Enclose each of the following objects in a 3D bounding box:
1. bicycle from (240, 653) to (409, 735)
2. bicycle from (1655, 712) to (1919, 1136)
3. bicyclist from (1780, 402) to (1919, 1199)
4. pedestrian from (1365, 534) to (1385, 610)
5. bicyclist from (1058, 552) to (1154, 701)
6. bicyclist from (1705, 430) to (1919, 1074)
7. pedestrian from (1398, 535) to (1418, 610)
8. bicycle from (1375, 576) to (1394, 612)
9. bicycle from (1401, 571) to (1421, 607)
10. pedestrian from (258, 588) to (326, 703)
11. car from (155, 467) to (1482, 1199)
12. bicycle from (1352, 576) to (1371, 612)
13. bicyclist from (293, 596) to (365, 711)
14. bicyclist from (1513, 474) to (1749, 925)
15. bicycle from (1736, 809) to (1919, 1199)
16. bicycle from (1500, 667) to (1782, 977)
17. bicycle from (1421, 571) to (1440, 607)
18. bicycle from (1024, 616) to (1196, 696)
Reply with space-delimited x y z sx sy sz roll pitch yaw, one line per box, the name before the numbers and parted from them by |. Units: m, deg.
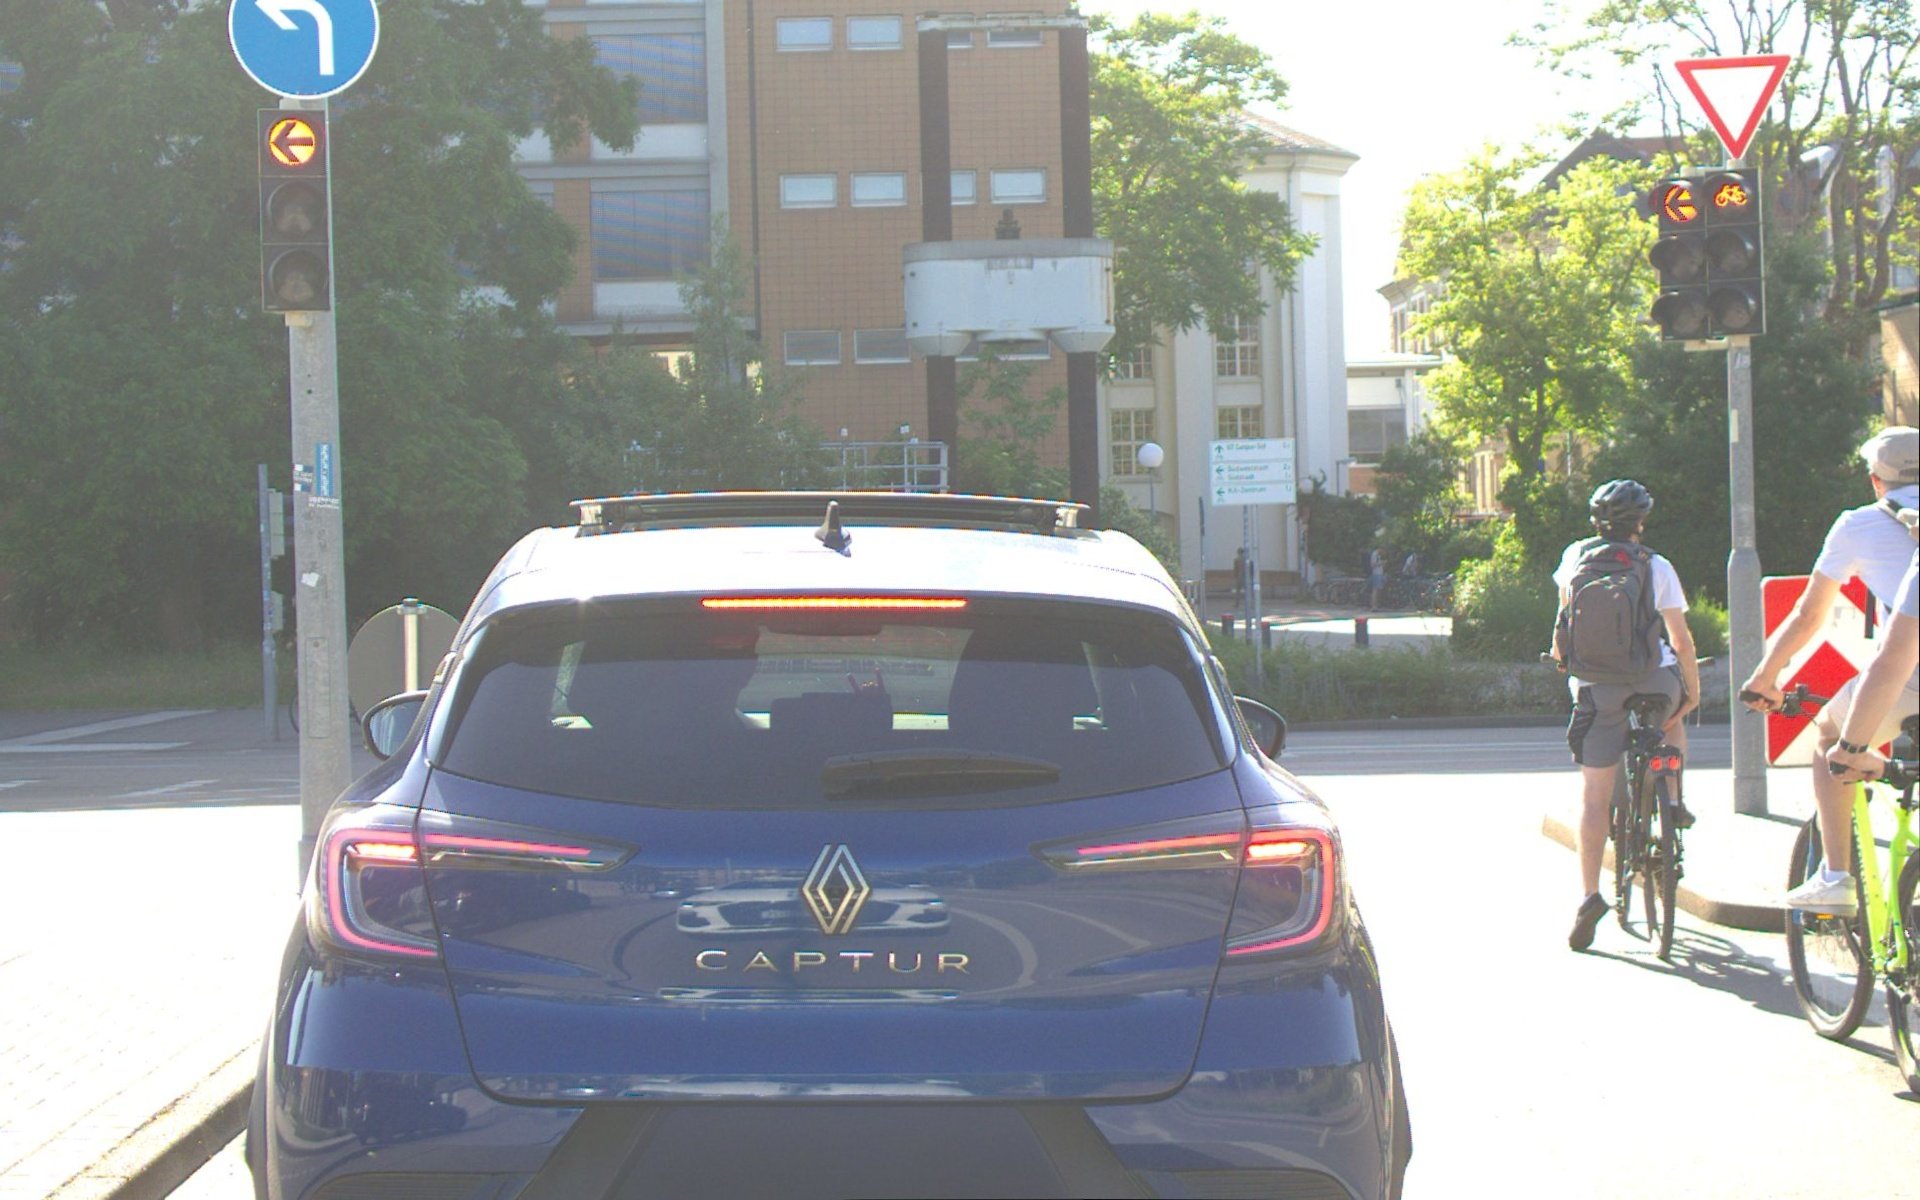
bicycle | -8.081 1.189 43.765 2.005 0.961 0.598 -2 1 -27
bicycle | 2.611 0.866 9.817 0.659 0.999 1.970 1 1 -6
bicyclist | 2.230 0.443 7.241 0.751 1.663 1.016 1 0 1
pedestrian | 10.982 -0.750 91.038 0.475 2.007 0.523 -1 1 6
bicyclist | 1.853 0.330 43.650 1.102 1.861 0.652 -1 1 10
bicyclist | 2.622 0.407 9.806 0.645 1.733 1.067 1 0 -6
pedestrian | 12.039 -0.749 92.390 0.475 2.007 0.468 -1 1 6
bicycle | 11.615 -0.167 94.032 0.405 0.969 1.683 1 1 4
bicycle | 12.383 -0.304 94.398 0.405 0.969 1.683 1 1 4
pedestrian | -9.396 0.638 48.376 0.737 1.598 0.598 -1 1 12
car | -0.269 0.614 6.692 1.803 1.626 4.000 0 1 -2
bicycle | 10.993 -0.176 94.076 0.405 0.969 1.683 1 1 4
bicyclist | -8.033 0.676 43.783 0.737 1.436 0.598 -2 1 -27
bicyclist | 2.507 0.356 12.941 0.726 1.623 0.969 1 0 4
bicycle | 2.227 0.962 7.252 0.740 0.893 1.978 1 1 1
bicycle | 2.510 0.782 12.897 0.739 0.992 2.173 1 1 3
bicycle | 12.919 -0.296 94.412 0.405 0.969 1.683 1 1 4
bicycle | 1.910 0.711 43.643 2.082 0.927 0.696 -2 2 11
